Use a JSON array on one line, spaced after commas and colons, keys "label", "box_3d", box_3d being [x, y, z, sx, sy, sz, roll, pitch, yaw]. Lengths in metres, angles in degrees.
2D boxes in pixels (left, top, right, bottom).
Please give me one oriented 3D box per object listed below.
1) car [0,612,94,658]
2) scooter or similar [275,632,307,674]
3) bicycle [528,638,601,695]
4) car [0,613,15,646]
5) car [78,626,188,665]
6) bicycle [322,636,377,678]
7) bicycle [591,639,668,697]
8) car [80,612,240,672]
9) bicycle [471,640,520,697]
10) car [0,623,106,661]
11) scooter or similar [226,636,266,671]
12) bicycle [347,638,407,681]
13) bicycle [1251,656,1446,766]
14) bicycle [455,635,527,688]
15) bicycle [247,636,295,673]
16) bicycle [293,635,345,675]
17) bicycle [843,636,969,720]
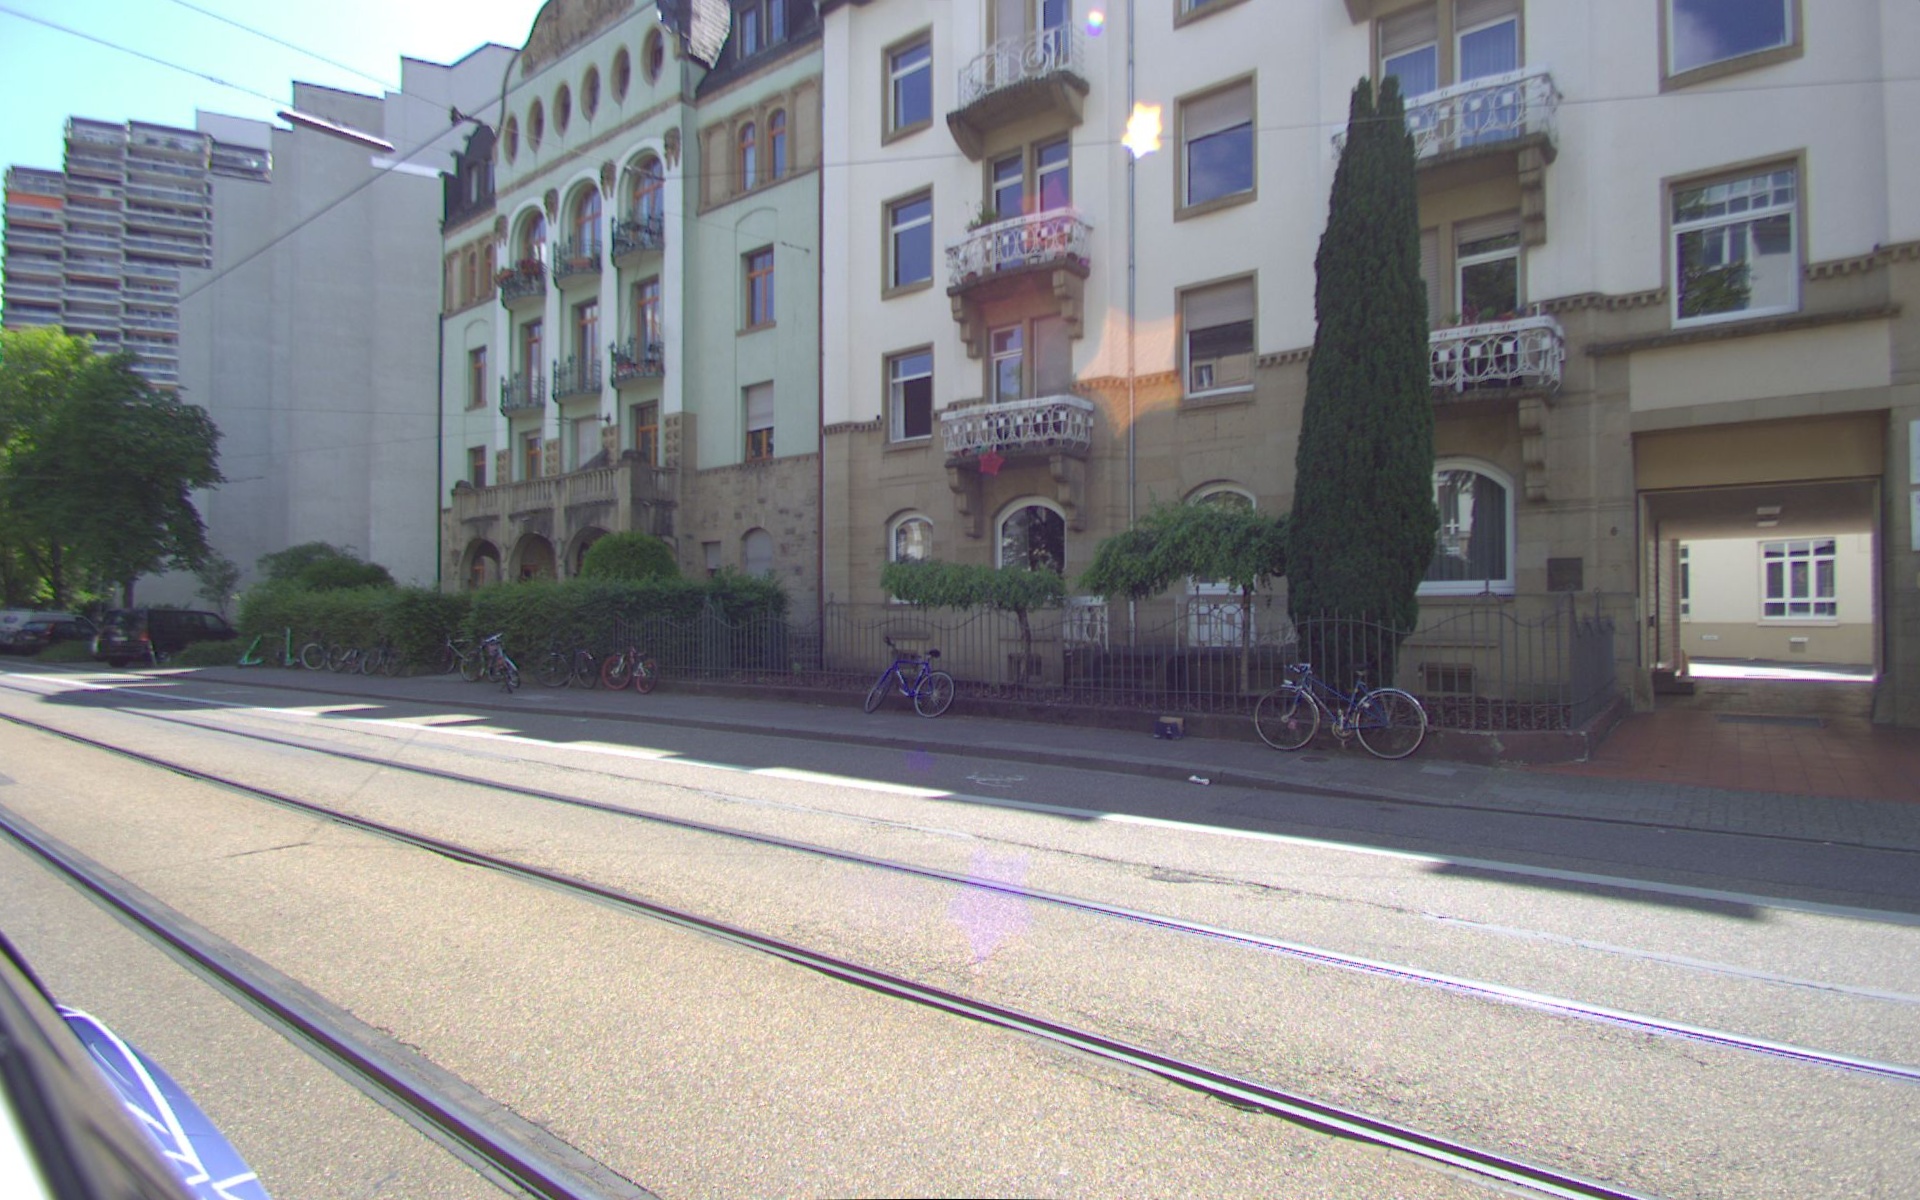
[{"label": "car", "box_3d": [-43.062, 1.628, 47.420, 1.579, 2.058, 4.055, 0, -1, -3]}, {"label": "scooter or similar", "box_3d": [-18.784, 1.475, 28.422, 1.290, 1.128, 0.401, -1, -2, 40]}, {"label": "bicycle", "box_3d": [-7.586, 1.250, 19.392, 1.705, 1.006, 0.460, -1, 2, 38]}, {"label": "car", "box_3d": [-62.772, 1.884, 64.316, 1.848, 2.124, 4.597, 0, -1, -11]}, {"label": "car", "box_3d": [-32.472, 1.760, 39.850, 1.699, 1.465, 3.633, 0, -1, -8]}, {"label": "bicycle", "box_3d": [-15.665, 1.442, 25.952, 1.705, 0.996, 0.602, -2, 2, 38]}, {"label": "bicycle", "box_3d": [-6.007, 1.221, 18.359, 1.723, 0.973, 0.409, -1, 2, 38]}, {"label": "car", "box_3d": [-27.658, 1.419, 35.219, 1.935, 1.940, 4.585, 0, -1, 1]}, {"label": "bicycle", "box_3d": [-8.842, 1.276, 19.314, 0.599, 1.007, 1.780, 0, -2, -16]}, {"label": "car", "box_3d": [-40.395, 1.839, 45.166, 1.657, 1.587, 3.688, 1, -1, -5]}, {"label": "scooter or similar", "box_3d": [-21.482, 1.613, 30.436, 1.216, 1.028, 0.404, -1, -2, 23]}, {"label": "bicycle", "box_3d": [-14.240, 1.437, 24.708, 1.769, 0.983, 0.602, -2, 2, 38]}, {"label": "bicycle", "box_3d": [3.990, 1.112, 10.486, 1.839, 0.968, 0.406, 0, 2, 38]}, {"label": "bicycle", "box_3d": [-9.988, 1.289, 21.539, 1.769, 1.040, 0.602, -2, 2, 38]}, {"label": "bicycle", "box_3d": [-20.015, 1.574, 29.397, 1.705, 0.996, 0.602, -2, 2, 38]}, {"label": "bicycle", "box_3d": [-17.320, 1.467, 27.312, 1.705, 0.996, 0.602, -2, 2, 38]}, {"label": "bicycle", "box_3d": [-0.778, 1.062, 14.188, 1.769, 1.072, 0.602, -2, 2, 38]}]
